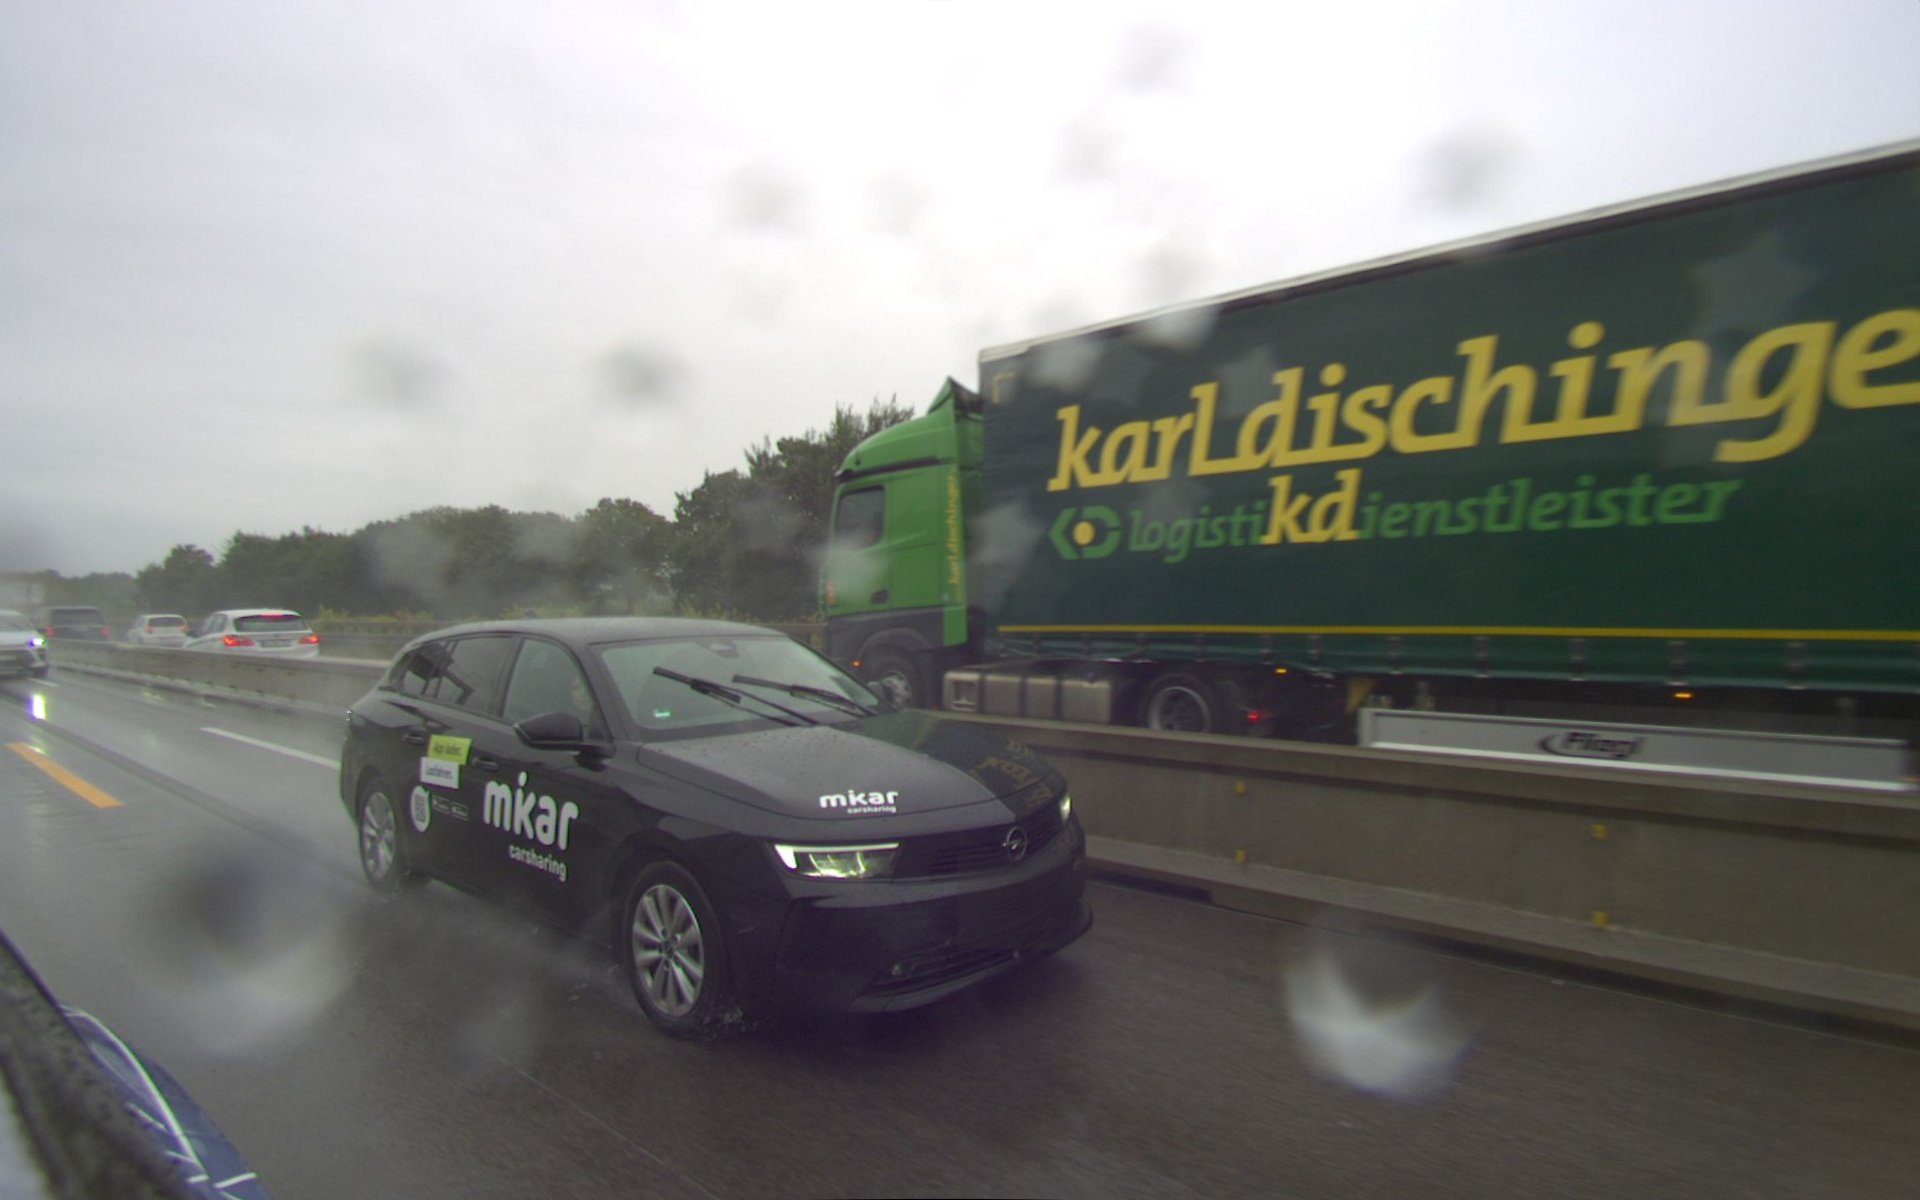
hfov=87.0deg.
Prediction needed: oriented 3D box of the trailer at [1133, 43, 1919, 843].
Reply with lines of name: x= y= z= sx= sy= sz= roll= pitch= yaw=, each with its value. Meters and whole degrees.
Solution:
trailer: x=7.470 y=-0.909 z=5.525 sx=13.547 sy=4.491 sz=2.554 roll=-1 pitch=-1 yaw=42

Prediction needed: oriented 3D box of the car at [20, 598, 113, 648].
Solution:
car: x=-32.470 y=0.834 z=36.728 sx=4.737 sy=1.700 sz=1.879 roll=-1 pitch=-1 yaw=40

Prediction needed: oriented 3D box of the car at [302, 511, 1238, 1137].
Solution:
car: x=-1.336 y=0.566 z=4.836 sx=4.795 sy=1.539 sz=1.918 roll=-1 pitch=0 yaw=43

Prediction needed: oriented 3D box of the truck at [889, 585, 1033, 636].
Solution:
truck: x=-0.089 y=0.617 z=58.139 sx=8.900 sy=2.724 sz=2.488 roll=-1 pitch=-1 yaw=42

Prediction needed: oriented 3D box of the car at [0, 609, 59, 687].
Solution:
car: x=-23.403 y=1.115 z=24.310 sx=3.994 sy=1.693 sz=1.948 roll=1 pitch=1 yaw=38

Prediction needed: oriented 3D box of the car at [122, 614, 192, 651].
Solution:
car: x=-33.217 y=1.327 z=41.845 sx=3.890 sy=1.446 sz=1.553 roll=-1 pitch=-1 yaw=40

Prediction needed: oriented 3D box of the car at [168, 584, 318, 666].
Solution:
car: x=-15.523 y=0.460 z=21.834 sx=4.319 sy=1.610 sz=1.683 roll=1 pitch=1 yaw=41

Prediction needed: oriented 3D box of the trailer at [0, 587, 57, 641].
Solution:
trailer: x=-63.254 y=0.950 z=68.065 sx=9.709 sy=3.388 sz=2.634 roll=-1 pitch=-1 yaw=41

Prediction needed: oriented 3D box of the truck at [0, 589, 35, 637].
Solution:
truck: x=-70.499 y=0.974 z=74.422 sx=9.547 sy=3.373 sz=2.612 roll=-1 pitch=-1 yaw=41

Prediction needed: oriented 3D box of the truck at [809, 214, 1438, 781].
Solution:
truck: x=1.412 y=-0.767 z=10.945 sx=6.287 sy=4.422 sz=2.581 roll=-1 pitch=-1 yaw=42
